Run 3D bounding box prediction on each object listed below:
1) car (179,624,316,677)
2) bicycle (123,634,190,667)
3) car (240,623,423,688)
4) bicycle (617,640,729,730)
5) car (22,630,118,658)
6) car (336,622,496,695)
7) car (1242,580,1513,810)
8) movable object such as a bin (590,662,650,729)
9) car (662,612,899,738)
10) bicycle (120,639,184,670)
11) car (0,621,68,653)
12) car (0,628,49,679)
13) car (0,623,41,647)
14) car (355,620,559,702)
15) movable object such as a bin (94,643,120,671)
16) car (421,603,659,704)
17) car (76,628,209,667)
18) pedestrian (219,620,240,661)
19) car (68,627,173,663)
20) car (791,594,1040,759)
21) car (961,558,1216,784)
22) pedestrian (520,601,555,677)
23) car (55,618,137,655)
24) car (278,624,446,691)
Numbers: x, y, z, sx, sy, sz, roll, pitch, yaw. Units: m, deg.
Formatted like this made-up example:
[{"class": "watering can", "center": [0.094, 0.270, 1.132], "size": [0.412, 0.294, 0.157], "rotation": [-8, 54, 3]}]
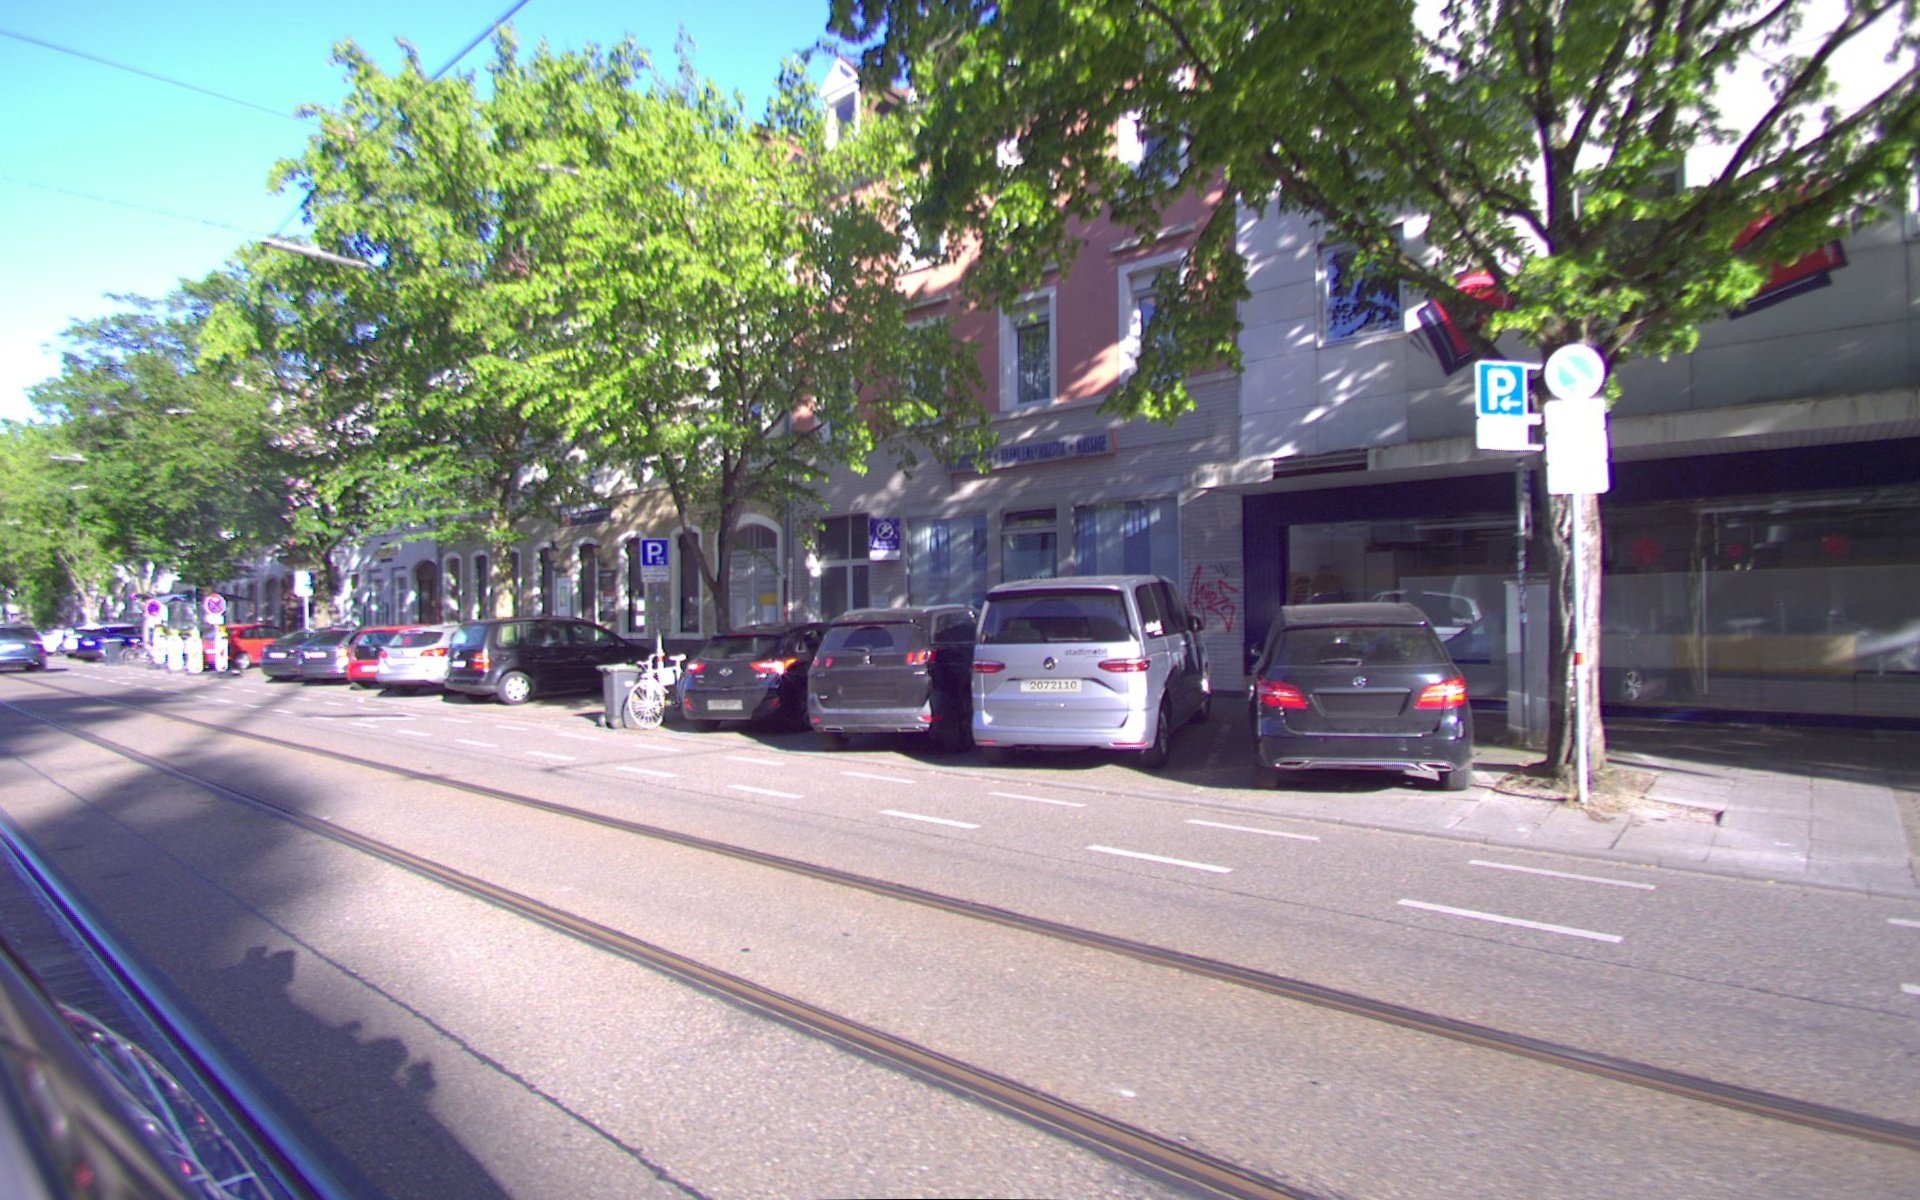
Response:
[{"class": "car", "center": [-24.375, 1.700, 34.785], "size": [1.653, 1.565, 3.607], "rotation": [-3, 0, 15]}, {"class": "bicycle", "center": [-31.836, 1.997, 40.125], "size": [0.567, 1.095, 1.981], "rotation": [-2, 2, 43]}, {"class": "car", "center": [-17.379, 1.497, 28.244], "size": [1.925, 1.502, 4.184], "rotation": [-2, 0, 14]}, {"class": "bicycle", "center": [-4.269, 1.235, 15.210], "size": [0.489, 1.153, 1.957], "rotation": [-1, 0, 23]}, {"class": "car", "center": [-49.942, 2.451, 56.880], "size": [1.873, 1.541, 3.621], "rotation": [-1, -2, 21]}, {"class": "car", "center": [-13.155, 1.380, 24.670], "size": [1.597, 1.504, 3.360], "rotation": [-2, 0, 13]}, {"class": "car", "center": [3.793, 0.689, 9.831], "size": [1.895, 1.679, 4.273], "rotation": [-2, 1, 17]}, {"class": "movable object such as a bin", "center": [-5.036, 1.408, 14.989], "size": [0.572, 0.920, 0.572], "rotation": [-3, 0, 25]}, {"class": "car", "center": [-2.492, 0.995, 15.044], "size": [1.829, 1.487, 3.844], "rotation": [-1, 1, 19]}, {"class": "bicycle", "center": [-32.764, 2.210, 41.072], "size": [0.568, 1.087, 1.946], "rotation": [-2, 1, 43]}, {"class": "car", "center": [-67.216, 2.642, 72.735], "size": [2.161, 2.134, 4.393], "rotation": [-2, -1, 39]}, {"class": "car", "center": [-32.086, 1.764, 33.872], "size": [4.247, 1.642, 1.907], "rotation": [-2, -2, 42]}, {"class": "car", "center": [-79.499, 2.900, 83.635], "size": [2.064, 2.029, 4.896], "rotation": [-1, -2, 26]}, {"class": "car", "center": [-11.091, 1.297, 22.661], "size": [1.824, 1.524, 4.098], "rotation": [-2, 0, 15]}, {"class": "movable object such as a bin", "center": [-35.134, 2.347, 41.693], "size": [0.710, 1.086, 0.676], "rotation": [-2, 1, 43]}, {"class": "car", "center": [-8.418, 0.996, 20.571], "size": [1.839, 1.690, 4.064], "rotation": [-2, 1, 39]}, {"class": "car", "center": [-40.709, 2.341, 50.584], "size": [2.187, 1.808, 4.919], "rotation": [-1, -1, 13]}, {"class": "pedestrian", "center": [-33.494, 1.858, 46.404], "size": [0.624, 1.852, 0.636], "rotation": [-2, -2, 43]}, {"class": "car", "center": [-38.956, 2.060, 47.069], "size": [1.552, 1.621, 3.899], "rotation": [-1, -1, 3]}, {"class": "car", "center": [-0.348, 0.850, 12.766], "size": [1.796, 1.698, 4.224], "rotation": [-1, -2, 18]}, {"class": "car", "center": [1.655, 0.615, 11.352], "size": [1.934, 2.001, 4.340], "rotation": [-1, 0, 19]}, {"class": "pedestrian", "center": [-11.557, 1.052, 27.677], "size": [0.556, 2.029, 0.723], "rotation": [-2, -2, 42]}, {"class": "car", "center": [-44.996, 1.901, 52.786], "size": [1.705, 1.857, 3.453], "rotation": [0, -2, -10]}, {"class": "car", "center": [-15.504, 1.443, 26.460], "size": [1.735, 1.481, 3.670], "rotation": [-1, 0, 12]}]
